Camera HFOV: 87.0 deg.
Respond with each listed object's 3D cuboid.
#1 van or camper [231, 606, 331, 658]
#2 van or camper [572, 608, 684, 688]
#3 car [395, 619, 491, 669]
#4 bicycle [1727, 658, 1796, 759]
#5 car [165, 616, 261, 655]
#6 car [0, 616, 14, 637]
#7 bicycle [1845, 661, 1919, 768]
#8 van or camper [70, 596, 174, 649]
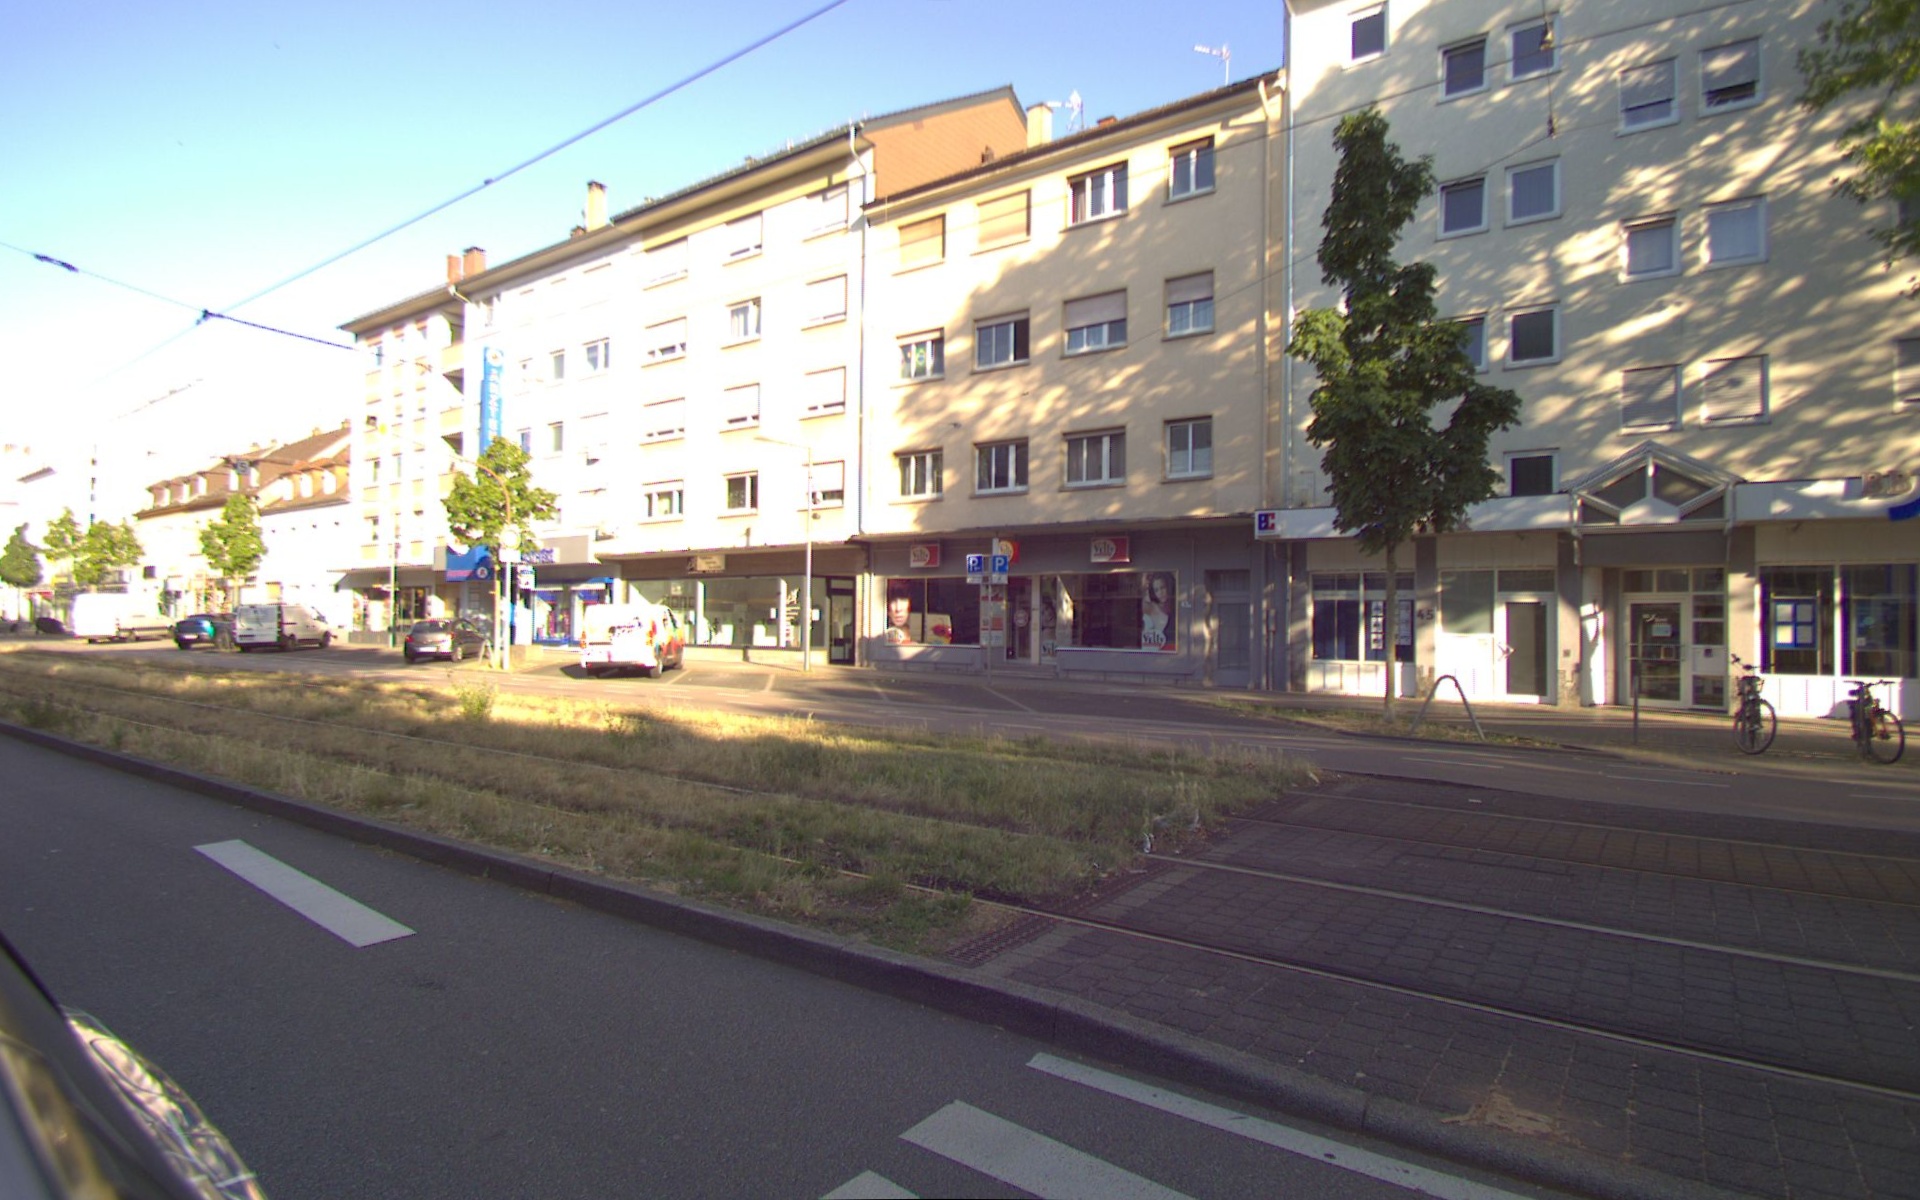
[{"bbox_3d":[-28.556,1.294,42.749,1.771,2.004,4.460,-1,0,-9],"label":"van or camper"},{"bbox_3d":[-8.879,1.210,27.483,1.921,1.912,4.822,-1,0,-6],"label":"van or camper"},{"bbox_3d":[-17.605,1.449,34.694,1.741,1.501,4.461,-1,0,-11],"label":"car"},{"bbox_3d":[10.376,1.367,13.147,0.533,1.133,1.878,-1,-1,34],"label":"bicycle"},{"bbox_3d":[-34.289,1.591,46.571,1.850,1.598,4.007,-1,0,-7],"label":"car"},{"bbox_3d":[-73.384,2.018,75.450,1.752,1.501,3.899,-1,0,13],"label":"car"},{"bbox_3d":[11.401,1.361,12.428,0.533,1.133,1.878,-1,-1,34],"label":"bicycle"},{"bbox_3d":[-45.375,1.155,55.010,1.966,2.687,6.417,-1,0,-16],"label":"van or camper"}]
